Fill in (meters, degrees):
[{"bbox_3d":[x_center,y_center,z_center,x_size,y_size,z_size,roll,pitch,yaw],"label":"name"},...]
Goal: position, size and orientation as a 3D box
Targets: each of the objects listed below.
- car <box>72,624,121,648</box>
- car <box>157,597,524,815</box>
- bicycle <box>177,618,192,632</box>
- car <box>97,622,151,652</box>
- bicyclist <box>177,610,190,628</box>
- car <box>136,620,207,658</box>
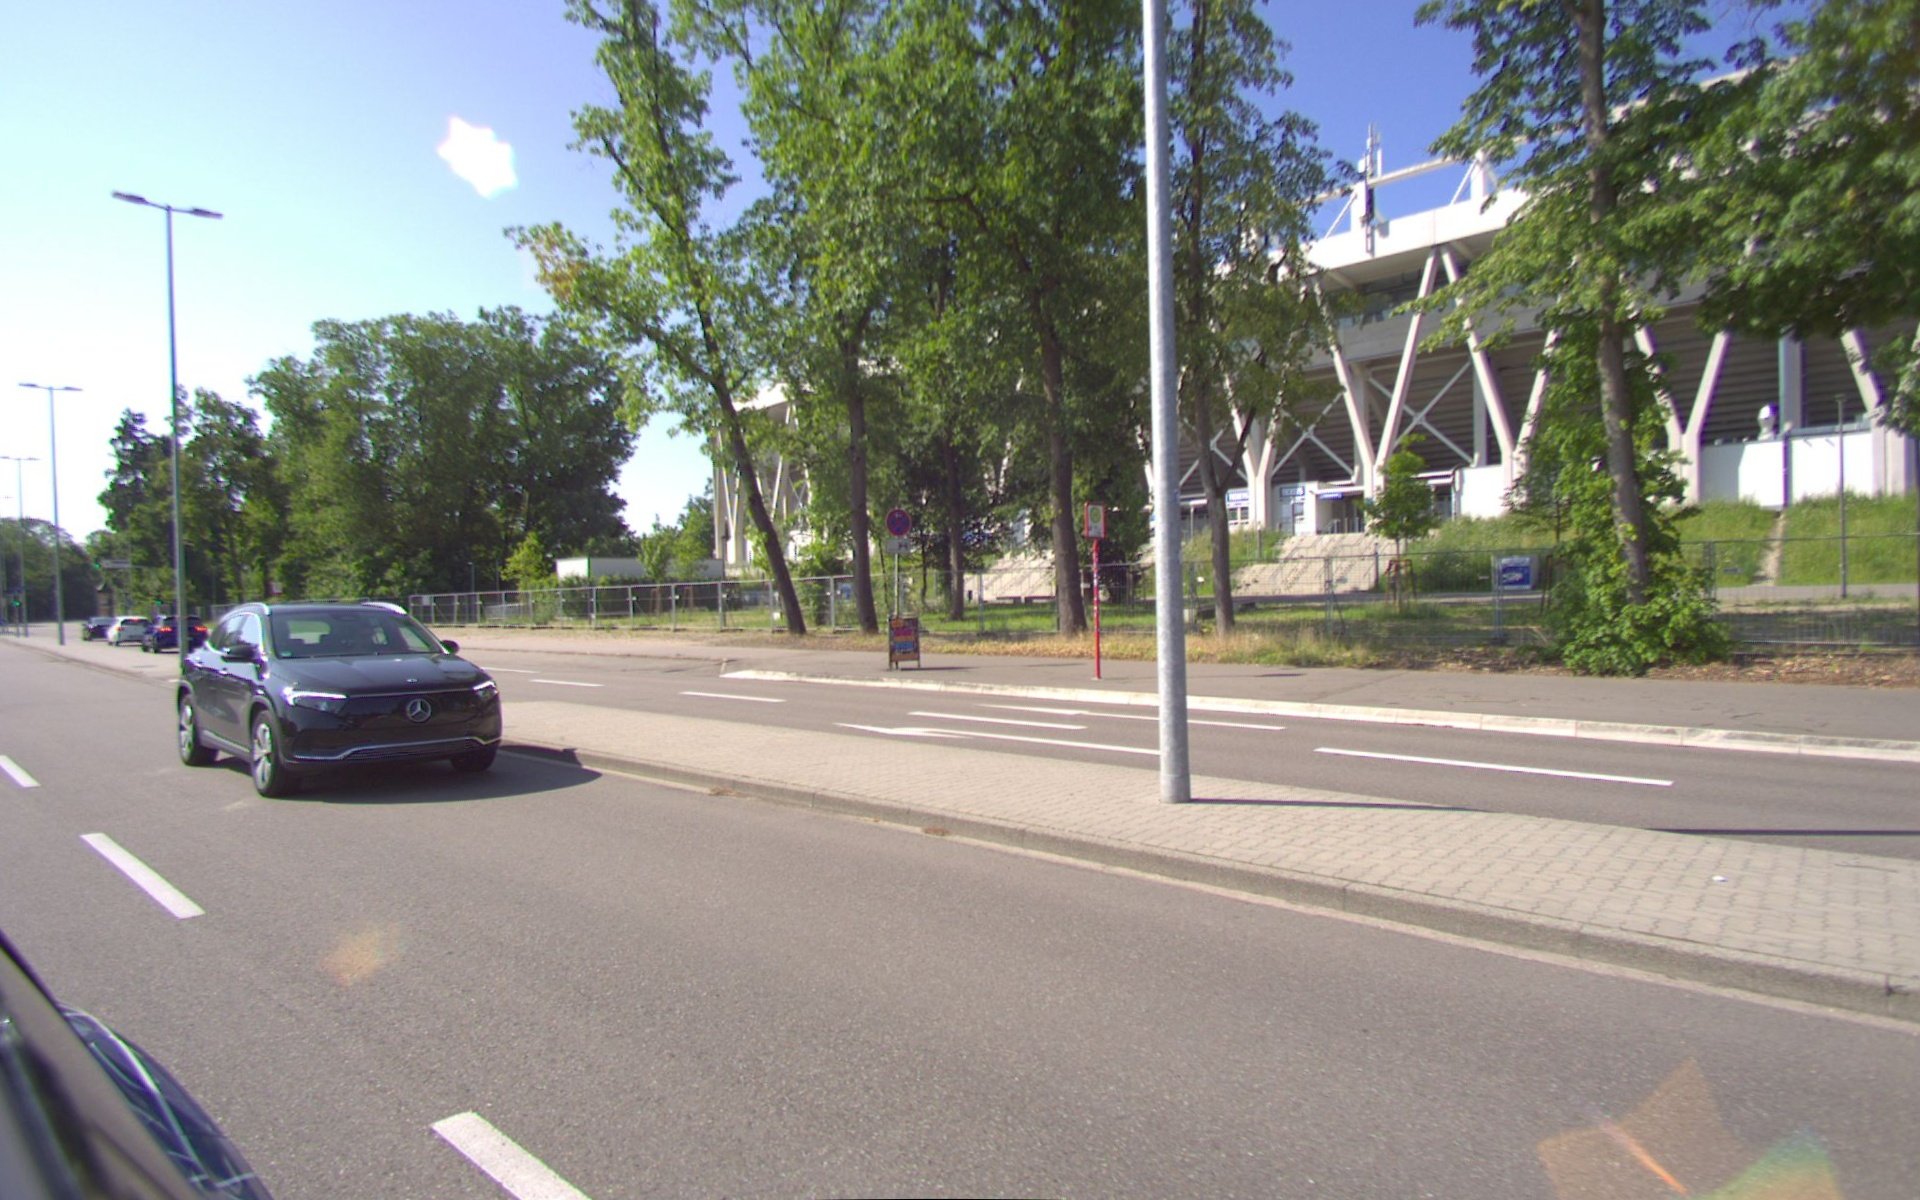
[{"bbox_3d":[-52.585,2.185,61.585,4.162,1.398,1.791,-1,-2,43],"label":"car"},{"bbox_3d":[-5.995,0.834,9.581,4.271,1.608,1.785,-1,-2,42],"label":"car"},{"bbox_3d":[-65.038,2.091,84.833,1.878,1.144,0.652,-2,1,43],"label":"bicycle"},{"bbox_3d":[-42.467,1.848,51.415,3.800,1.478,1.605,-1,-2,43],"label":"car"},{"bbox_3d":[-65.017,1.602,84.767,1.057,1.478,0.652,-2,1,43],"label":"bicyclist"},{"bbox_3d":[-32.501,1.592,41.683,3.948,1.497,1.734,-1,-2,44],"label":"car"}]
